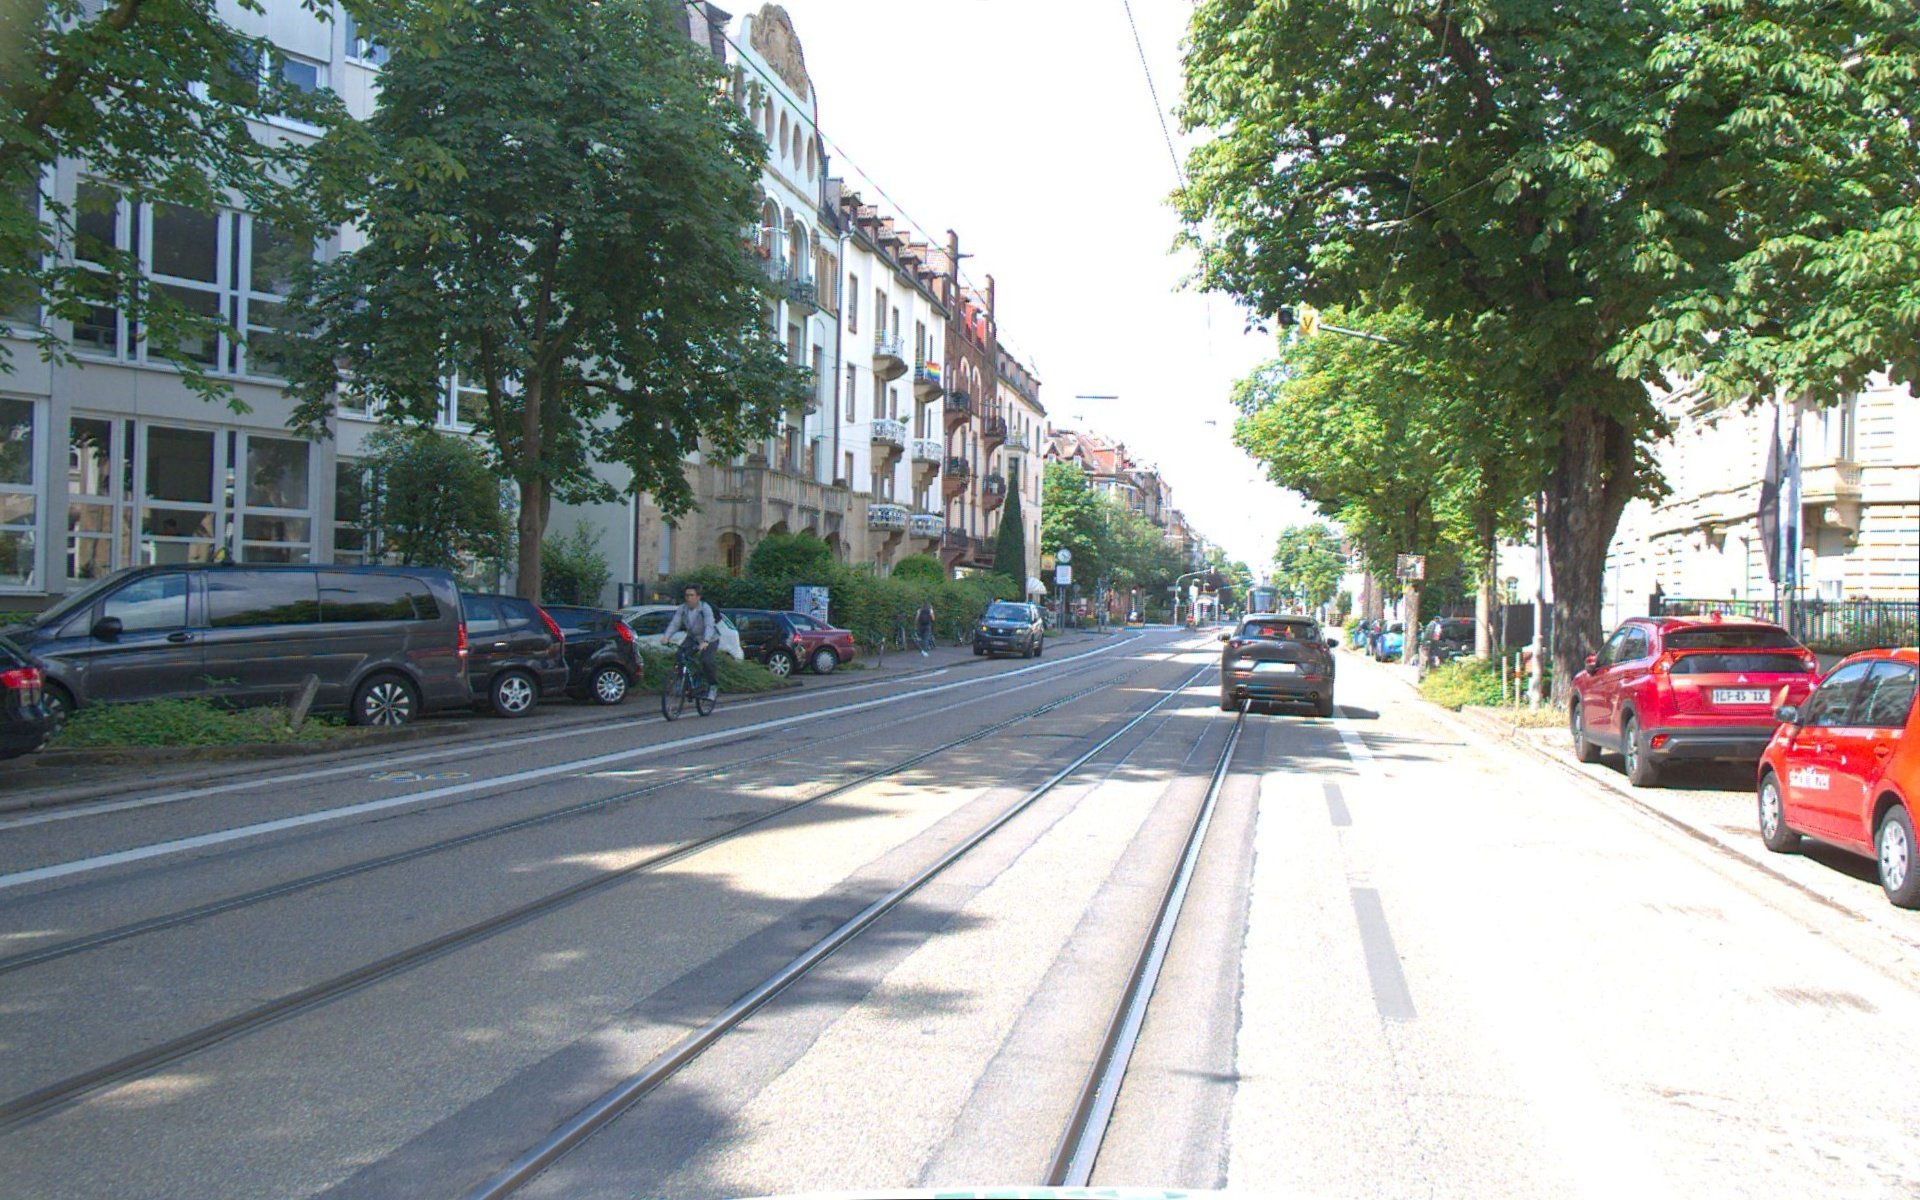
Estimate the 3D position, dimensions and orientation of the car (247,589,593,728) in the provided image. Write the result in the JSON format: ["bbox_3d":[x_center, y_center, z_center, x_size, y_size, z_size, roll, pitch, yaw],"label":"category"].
[{"bbox_3d":[-6.923,0.697,21.318,3.951,1.621,1.720,0,-1,-34],"label":"car"}]

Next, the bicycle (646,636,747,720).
[{"bbox_3d":[-3.541,1.032,22.373,0.641,1.059,2.002,0,-1,13],"label":"bicycle"}]

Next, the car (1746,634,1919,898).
[{"bbox_3d":[6.428,0.962,10.662,1.566,1.454,3.599,0,-1,10],"label":"car"}]

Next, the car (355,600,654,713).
[{"bbox_3d":[-6.679,0.782,24.358,3.948,1.510,1.722,0,-1,-32],"label":"car"}]

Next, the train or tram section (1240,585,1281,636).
[{"bbox_3d":[21.913,0.792,121.008,2.595,3.590,8.502,1,-1,8],"label":"train or tram section"}]

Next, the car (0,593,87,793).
[{"bbox_3d":[-8.565,0.695,11.807,3.954,1.442,1.738,0,-1,-36],"label":"car"}]

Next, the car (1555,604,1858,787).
[{"bbox_3d":[7.743,0.909,17.612,1.836,1.706,4.285,0,-1,9],"label":"car"}]

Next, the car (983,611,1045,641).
[{"bbox_3d":[3.091,1.493,94.222,3.168,1.539,1.680,3,0,14],"label":"car"}]

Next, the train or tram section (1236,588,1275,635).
[{"bbox_3d":[23.064,0.928,129.435,2.595,3.590,8.502,1,-1,8],"label":"train or tram section"}]

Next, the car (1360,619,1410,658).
[{"bbox_3d":[17.139,1.527,66.830,1.604,1.522,3.761,0,-1,9],"label":"car"}]

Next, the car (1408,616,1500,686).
[{"bbox_3d":[12.075,1.215,40.652,1.660,1.619,4.206,0,-1,10],"label":"car"}]

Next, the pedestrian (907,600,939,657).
[{"bbox_3d":[-1.071,0.826,48.291,0.665,1.595,0.882,3,0,13],"label":"pedestrian"}]

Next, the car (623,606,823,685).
[{"bbox_3d":[-4.883,0.904,34.118,3.753,1.510,1.681,-1,-1,-29],"label":"car"}]

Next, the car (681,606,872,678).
[{"bbox_3d":[-4.128,0.913,37.338,3.920,1.510,1.826,0,-1,-33],"label":"car"}]

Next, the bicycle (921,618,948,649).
[{"bbox_3d":[-0.827,1.083,54.112,0.374,0.975,1.922,3,0,12],"label":"bicycle"}]

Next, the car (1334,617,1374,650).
[{"bbox_3d":[18.289,1.536,76.845,1.589,1.522,3.851,-1,-1,11],"label":"car"}]

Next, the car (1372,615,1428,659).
[{"bbox_3d":[15.672,1.301,59.041,1.604,1.522,3.630,0,-1,9],"label":"car"}]

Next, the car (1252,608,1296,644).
[{"bbox_3d":[14.221,1.153,75.069,1.747,1.518,4.887,1,0,8],"label":"car"}]

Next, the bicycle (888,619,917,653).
[{"bbox_3d":[-1.725,1.076,49.973,0.374,0.975,1.811,3,0,12],"label":"bicycle"}]

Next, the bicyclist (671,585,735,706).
[{"bbox_3d":[-3.487,0.612,22.478,0.627,1.604,0.742,0,-1,11],"label":"bicyclist"}]

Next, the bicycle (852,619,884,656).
[{"bbox_3d":[-2.567,1.043,46.189,0.374,0.975,1.811,3,0,12],"label":"bicycle"}]

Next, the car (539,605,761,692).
[{"bbox_3d":[-5.790,0.874,31.048,3.763,1.510,1.677,0,-1,-35],"label":"car"}]

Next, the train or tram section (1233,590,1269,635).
[{"bbox_3d":[24.219,1.061,137.850,2.595,3.590,8.502,1,-1,8],"label":"train or tram section"}]

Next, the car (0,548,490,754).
[{"bbox_3d":[-7.937,0.490,18.029,5.109,1.988,1.893,0,-1,-36],"label":"car"}]

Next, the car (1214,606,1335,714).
[{"bbox_3d":[5.154,0.914,27.305,1.751,1.538,4.354,2,0,10],"label":"car"}]

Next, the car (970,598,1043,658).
[{"bbox_3d":[1.538,0.875,52.860,1.747,1.793,4.887,1,0,8],"label":"car"}]

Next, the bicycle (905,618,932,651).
[{"bbox_3d":[-1.309,1.070,52.026,0.374,0.975,1.811,3,0,12],"label":"bicycle"}]

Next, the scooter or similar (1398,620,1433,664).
[{"bbox_3d":[14.383,1.325,52.229,0.434,1.322,1.175,-2,1,-19],"label":"scooter or similar"}]
